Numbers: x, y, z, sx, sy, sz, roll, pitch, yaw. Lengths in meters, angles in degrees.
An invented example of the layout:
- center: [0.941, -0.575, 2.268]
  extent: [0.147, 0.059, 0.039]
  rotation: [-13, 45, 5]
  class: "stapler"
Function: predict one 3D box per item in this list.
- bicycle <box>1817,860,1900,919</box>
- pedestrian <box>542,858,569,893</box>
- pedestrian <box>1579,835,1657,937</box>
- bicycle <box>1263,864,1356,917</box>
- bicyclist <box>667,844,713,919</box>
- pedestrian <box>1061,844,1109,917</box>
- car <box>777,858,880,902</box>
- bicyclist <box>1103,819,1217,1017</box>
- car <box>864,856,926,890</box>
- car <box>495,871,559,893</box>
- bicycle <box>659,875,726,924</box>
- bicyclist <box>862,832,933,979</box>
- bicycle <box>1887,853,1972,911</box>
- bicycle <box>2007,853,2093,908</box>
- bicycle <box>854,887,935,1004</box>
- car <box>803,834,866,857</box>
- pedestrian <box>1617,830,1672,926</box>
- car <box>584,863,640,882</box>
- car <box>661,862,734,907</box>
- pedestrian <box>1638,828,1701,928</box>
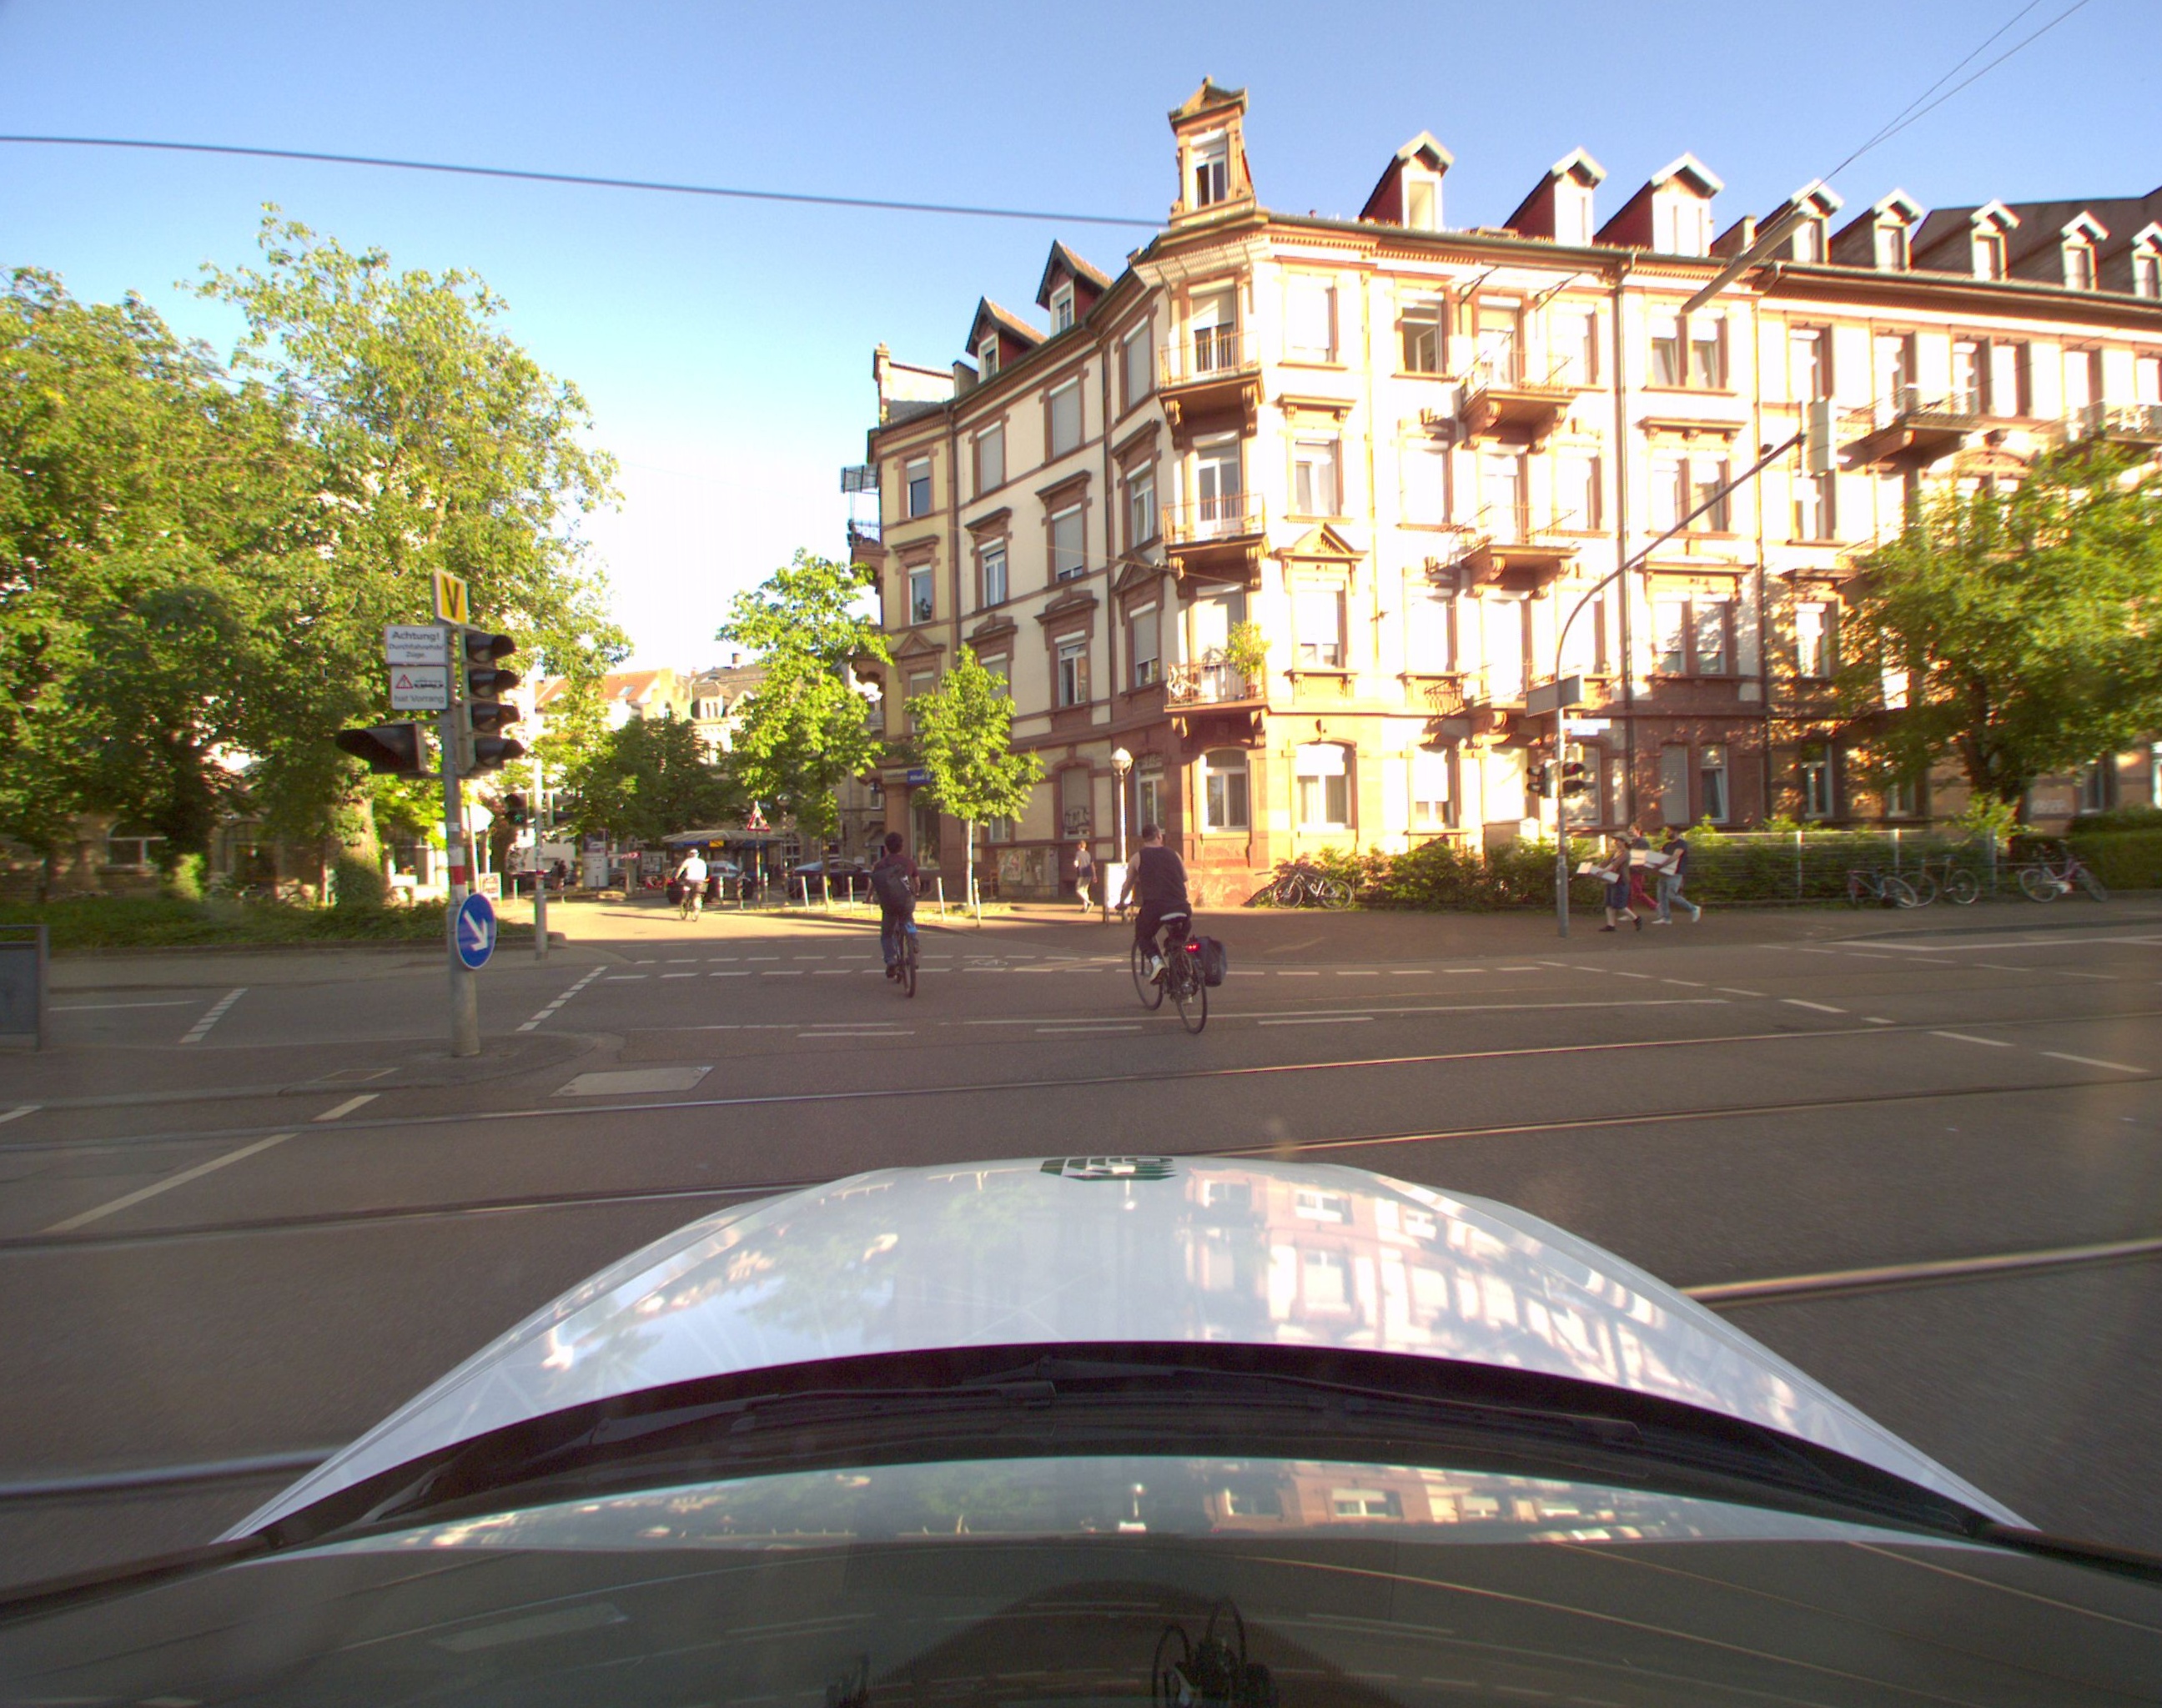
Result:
- center: [15.129, 0.682, 15.860]
  extent: [1.226, 1.107, 0.443]
  rotation: [-1, 0, -2]
  class: "bicycle"
- center: [-27.260, 1.109, 42.247]
  extent: [0.875, 1.750, 0.719]
  rotation: [0, 0, 13]
  class: "pedestrian"
- center: [9.111, 0.525, 13.850]
  extent: [0.890, 1.664, 0.714]
  rotation: [-1, 2, 9]
  class: "pedestrian"
- center: [5.077, 0.796, 18.154]
  extent: [1.942, 1.107, 0.446]
  rotation: [1, 0, 26]
  class: "bicycle"
- center: [-10.242, 0.695, 21.321]
  extent: [0.933, 1.913, 0.802]
  rotation: [-1, 0, 42]
  class: "bicyclist"
- center: [0.093, 0.591, 18.974]
  extent: [0.729, 1.634, 0.894]
  rotation: [-2, 2, -39]
  class: "pedestrian"
- center: [-10.028, 0.983, 32.752]
  extent: [1.777, 1.611, 4.389]
  rotation: [-1, 0, 17]
  class: "car"
- center: [0.688, 0.543, 7.384]
  extent: [0.687, 1.656, 0.984]
  rotation: [-1, -2, -15]
  class: "bicyclist"
- center: [-8.569, 0.849, 37.696]
  extent: [1.490, 1.457, 3.219]
  rotation: [0, 0, 14]
  class: "car"
- center: [-37.329, 1.870, 54.905]
  extent: [3.534, 1.499, 1.678]
  rotation: [0, -1, 15]
  class: "car"
- center: [-10.140, 1.148, 21.226]
  extent: [2.199, 1.185, 0.817]
  rotation: [-1, -1, 43]
  class: "bicycle"
- center: [-2.074, 0.552, 9.306]
  extent: [0.706, 1.573, 0.954]
  rotation: [-1, 0, -9]
  class: "bicyclist"
- center: [16.543, 0.538, 15.893]
  extent: [1.226, 1.107, 0.443]
  rotation: [-1, 0, -2]
  class: "bicycle"
- center: [19.129, 0.512, 16.083]
  extent: [1.227, 1.038, 0.443]
  rotation: [-1, 0, -3]
  class: "bicycle"
- center: [-2.095, 0.977, 9.373]
  extent: [0.716, 1.107, 1.961]
  rotation: [-1, 0, -8]
  class: "bicycle"
- center: [-17.817, -0.613, 58.933]
  extent: [3.957, 1.647, 1.887]
  rotation: [0, 0, 15]
  class: "car"
- center: [10.326, 0.434, 14.930]
  extent: [0.631, 1.715, 0.522]
  rotation: [-1, 0, 5]
  class: "pedestrian"
- center: [-36.076, 1.426, 62.702]
  extent: [3.534, 1.499, 1.678]
  rotation: [0, -1, 15]
  class: "car"
- center: [-14.338, 1.092, 30.653]
  extent: [1.792, 1.542, 3.841]
  rotation: [0, 0, -14]
  class: "car"
- center: [10.331, 0.420, 14.310]
  extent: [0.631, 1.715, 0.665]
  rotation: [-1, 0, 5]
  class: "pedestrian"
